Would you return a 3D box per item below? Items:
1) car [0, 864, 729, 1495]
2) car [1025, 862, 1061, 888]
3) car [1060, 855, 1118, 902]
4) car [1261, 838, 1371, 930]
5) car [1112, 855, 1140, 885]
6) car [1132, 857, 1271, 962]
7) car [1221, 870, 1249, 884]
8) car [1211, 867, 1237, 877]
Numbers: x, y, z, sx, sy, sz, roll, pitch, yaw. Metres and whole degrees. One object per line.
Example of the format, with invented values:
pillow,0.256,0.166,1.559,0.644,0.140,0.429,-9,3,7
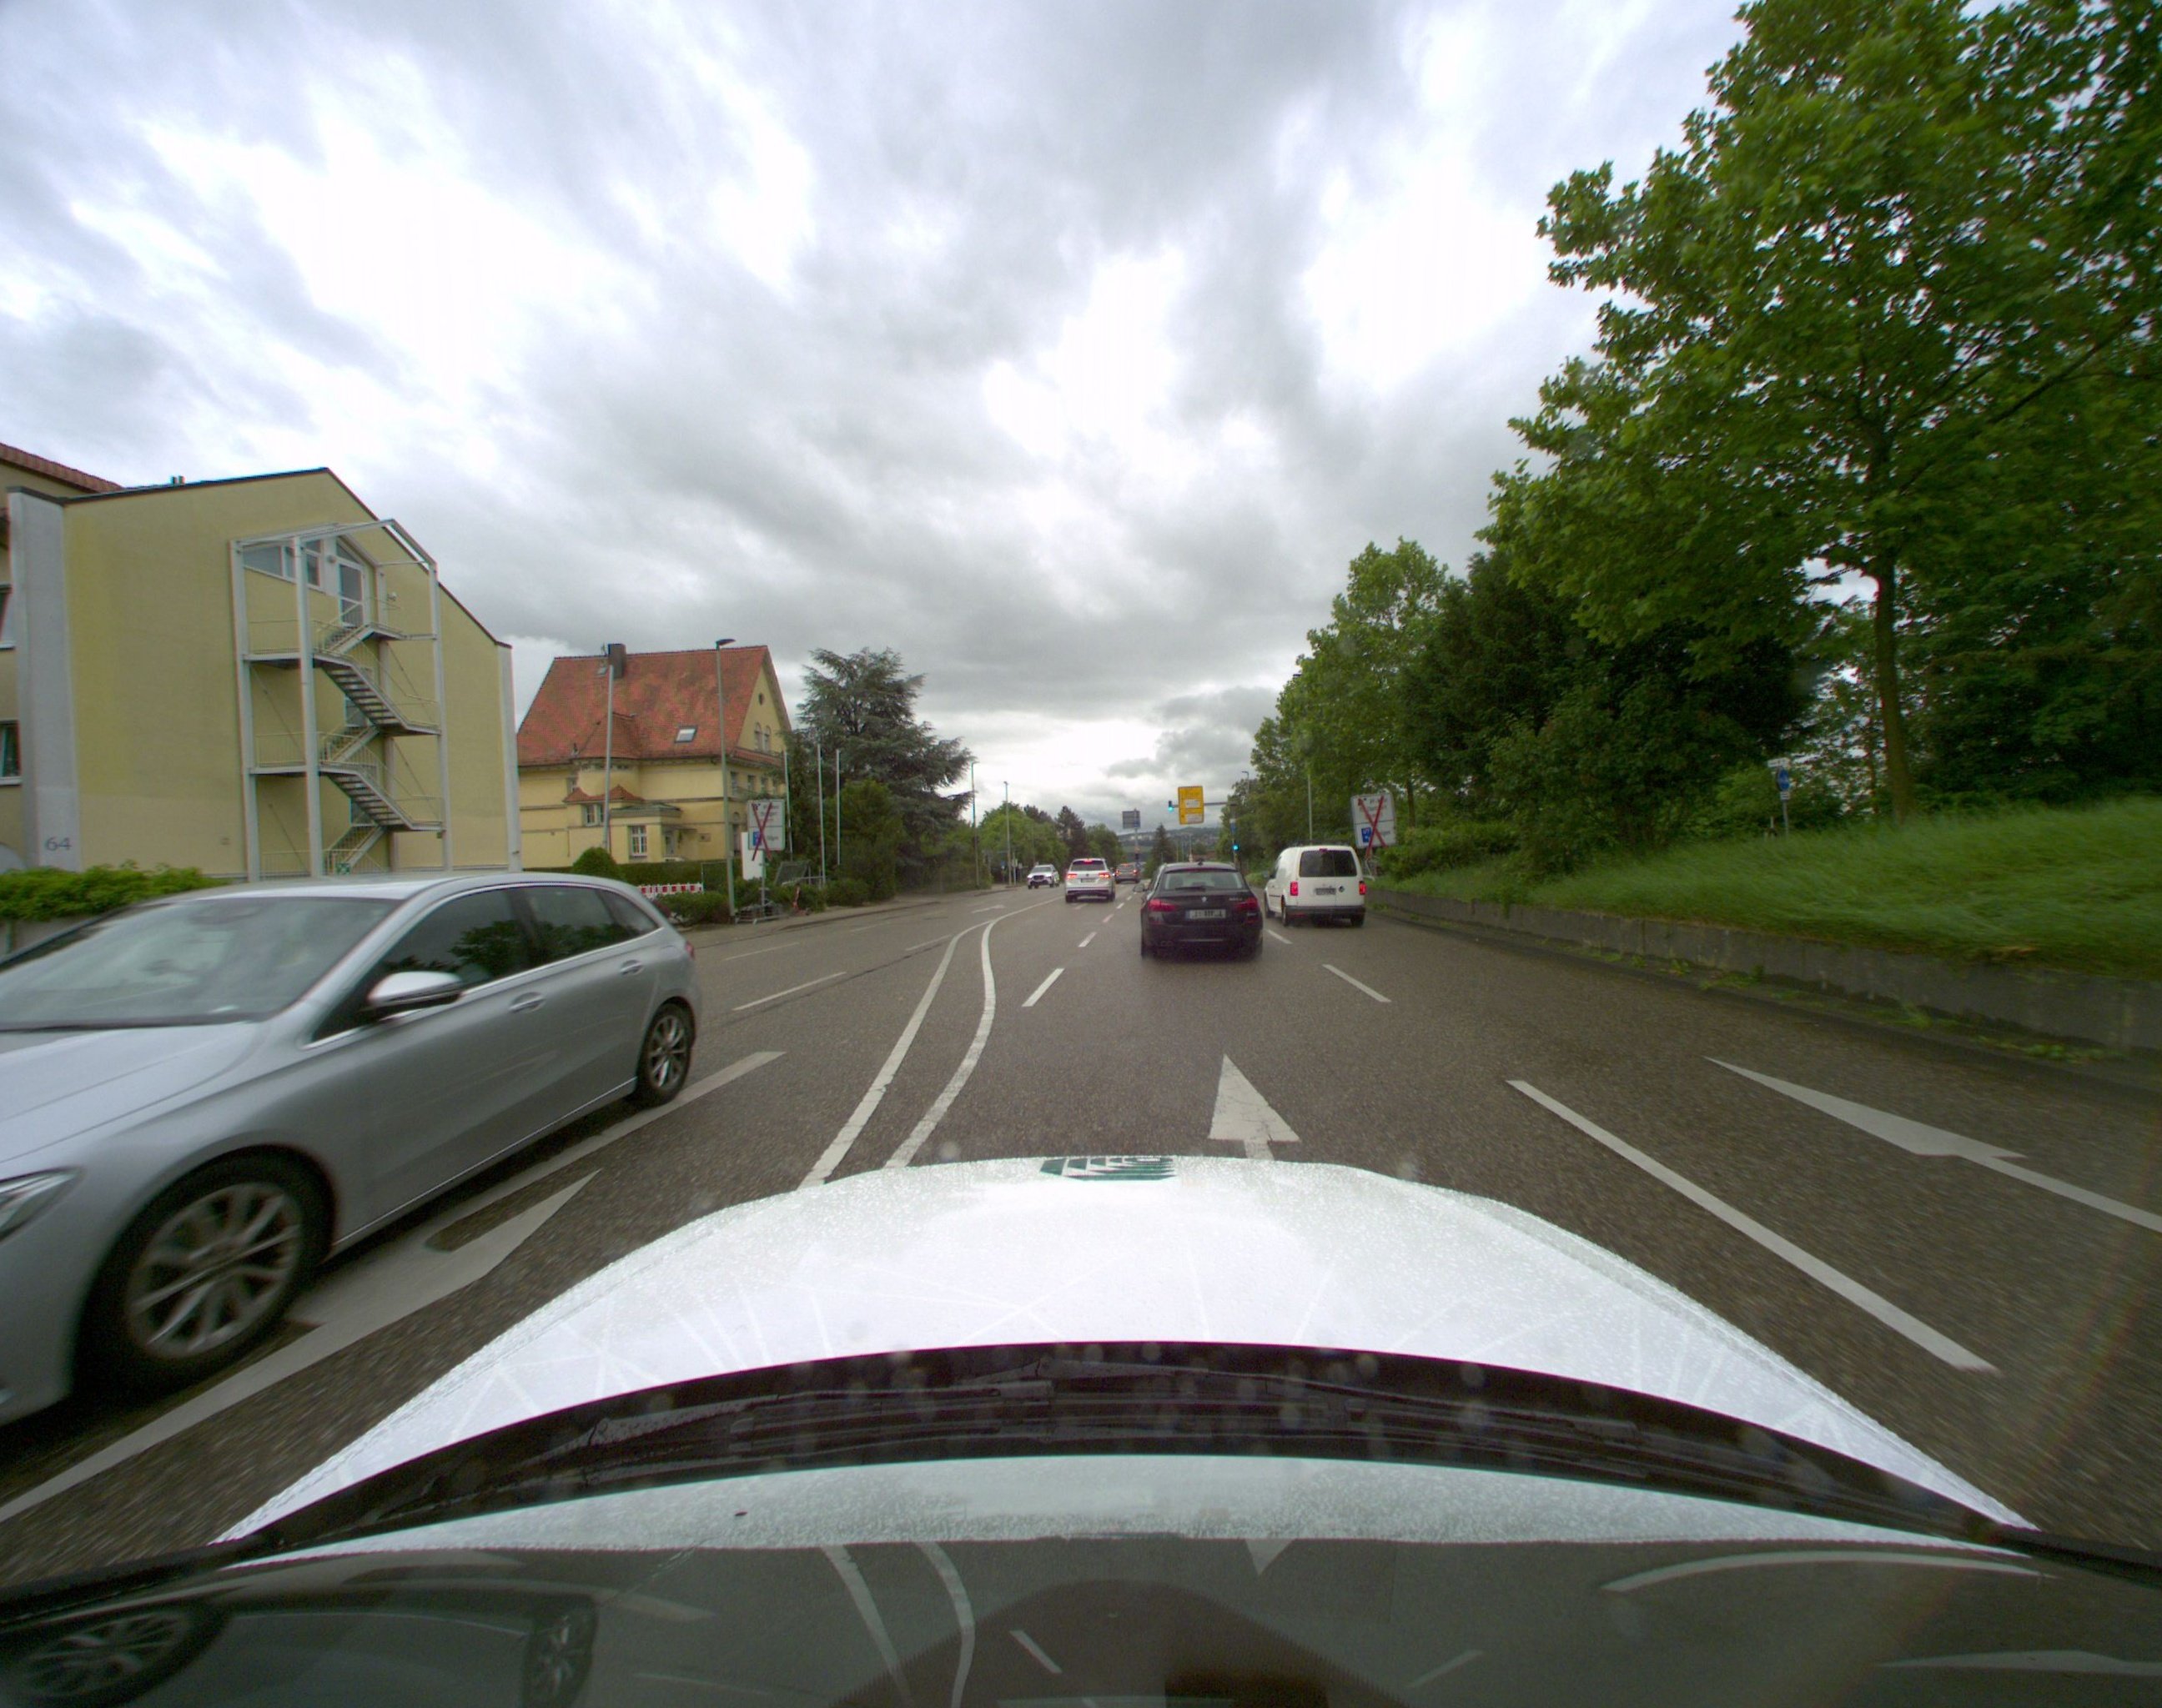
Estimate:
car,-3.506,0.845,3.888,1.744,1.508,4.300,-3,-1,-1
car,-2.901,1.614,63.430,1.907,1.763,5.152,-5,-1,6
car,0.395,0.925,32.016,1.859,1.673,4.007,-1,0,6
car,5.390,0.595,19.125,1.756,1.877,3.811,-2,1,5
car,3.350,1.175,60.415,1.801,2.088,3.856,-1,0,6
car,1.901,0.816,13.444,1.889,1.442,4.006,-2,-1,6
car,22.489,3.283,118.752,3.963,1.956,1.589,-1,-1,9
car,21.745,2.688,123.863,3.963,1.376,1.589,-1,-1,9
